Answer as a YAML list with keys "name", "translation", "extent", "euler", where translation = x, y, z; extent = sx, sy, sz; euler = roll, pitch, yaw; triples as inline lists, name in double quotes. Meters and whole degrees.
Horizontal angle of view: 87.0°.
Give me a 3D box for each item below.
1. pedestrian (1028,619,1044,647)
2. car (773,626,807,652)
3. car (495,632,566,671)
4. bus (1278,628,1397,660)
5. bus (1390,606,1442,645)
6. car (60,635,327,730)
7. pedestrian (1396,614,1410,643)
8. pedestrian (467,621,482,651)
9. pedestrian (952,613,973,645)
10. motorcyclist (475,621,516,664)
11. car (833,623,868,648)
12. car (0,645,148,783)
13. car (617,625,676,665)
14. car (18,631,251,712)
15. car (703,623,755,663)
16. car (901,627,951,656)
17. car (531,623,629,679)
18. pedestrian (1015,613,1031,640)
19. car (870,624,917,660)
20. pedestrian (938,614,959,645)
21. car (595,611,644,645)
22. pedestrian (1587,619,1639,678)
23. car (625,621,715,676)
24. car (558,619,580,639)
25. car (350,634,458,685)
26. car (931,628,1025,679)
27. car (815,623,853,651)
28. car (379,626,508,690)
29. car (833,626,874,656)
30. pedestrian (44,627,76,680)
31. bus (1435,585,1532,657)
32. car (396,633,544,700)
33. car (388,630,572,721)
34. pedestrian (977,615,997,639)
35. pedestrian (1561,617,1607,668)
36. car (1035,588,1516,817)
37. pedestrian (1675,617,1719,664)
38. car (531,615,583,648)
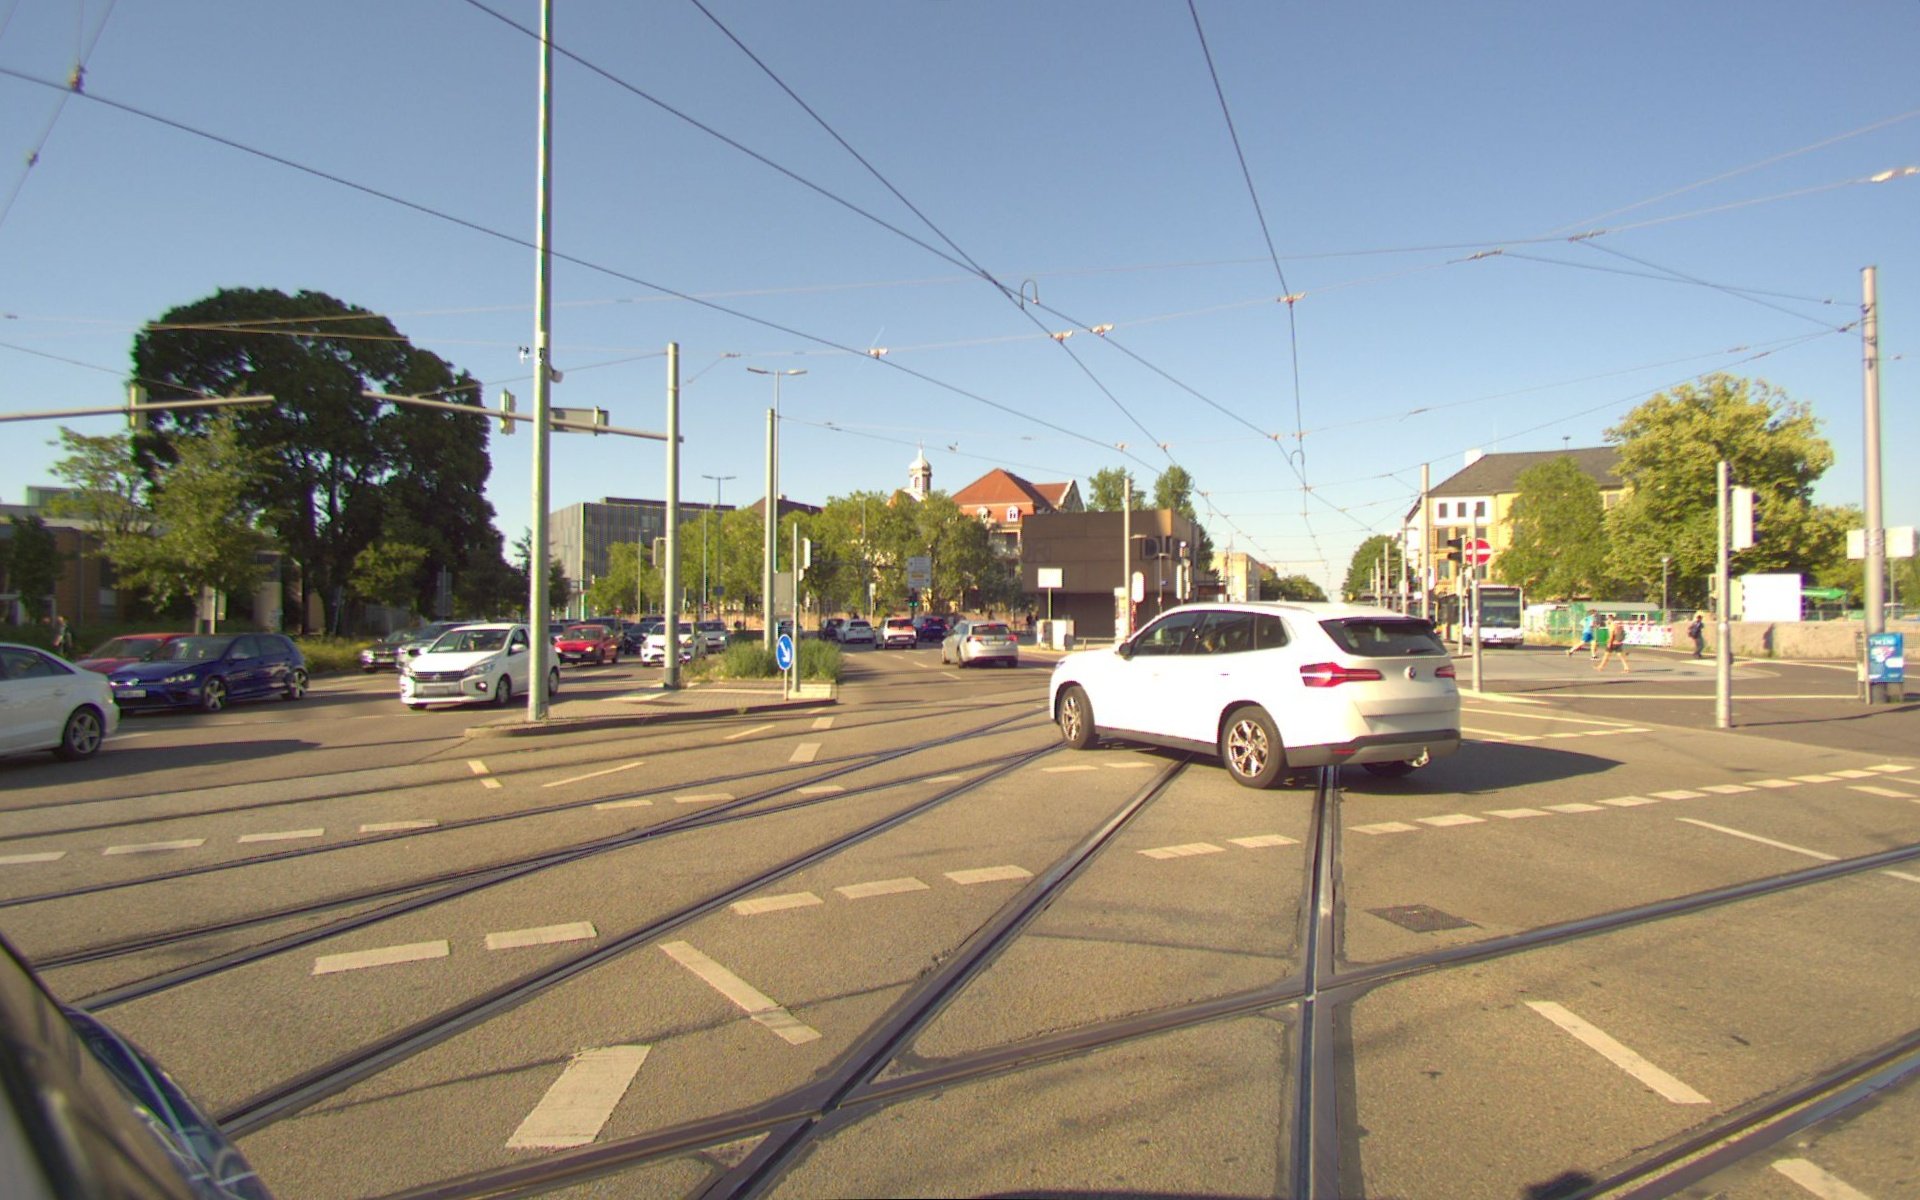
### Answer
- name: "pedestrian"
  translation: [5.150, 2.239, 68.816]
  extent: [0.797, 1.782, 0.968]
  euler: [-3, -2, 17]
- name: "car"
  translation: [-11.779, 2.657, 69.900]
  extent: [1.828, 1.642, 3.881]
  euler: [-3, -1, -15]
- name: "car"
  translation: [-20.870, 2.462, 49.409]
  extent: [1.968, 1.696, 4.715]
  euler: [-3, -1, -8]
- name: "bus"
  translation: [44.001, 5.196, 118.489]
  extent: [12.655, 3.218, 3.207]
  euler: [-4, -2, 42]
- name: "bus"
  translation: [41.233, 2.214, 91.877]
  extent: [3.228, 3.218, 12.573]
  euler: [-3, -2, 20]
- name: "car"
  translation: [-14.433, 1.479, 19.462]
  extent: [1.791, 1.504, 4.657]
  euler: [-2, -1, -3]
- name: "pedestrian"
  translation: [26.765, 1.744, 61.180]
  extent: [0.493, 1.714, 0.500]
  euler: [-3, -2, -3]
- name: "pedestrian"
  translation: [-27.816, 2.068, 58.010]
  extent: [0.556, 1.674, 0.593]
  euler: [-3, -2, -8]
- name: "pedestrian"
  translation: [0.142, 1.710, 59.528]
  extent: [0.790, 1.782, 0.976]
  euler: [-2, -2, -26]
- name: "motorcyclist"
  translation: [-19.360, 1.758, 42.181]
  extent: [1.101, 1.680, 1.456]
  euler: [-3, -2, -6]
- name: "car"
  translation: [-8.070, 2.605, 74.449]
  extent: [1.827, 1.642, 3.881]
  euler: [-3, -1, -16]
- name: "car"
  translation: [-10.726, 1.185, 10.226]
  extent: [1.798, 1.399, 4.463]
  euler: [-1, -2, -6]
- name: "car"
  translation: [-14.515, 2.059, 47.103]
  extent: [1.968, 1.696, 4.007]
  euler: [-3, -1, -8]
- name: "car"
  translation: [-17.471, 1.450, 21.705]
  extent: [1.732, 1.475, 4.018]
  euler: [0, 0, 0]
- name: "car"
  translation: [-10.288, 1.894, 45.251]
  extent: [1.968, 1.689, 4.291]
  euler: [0, -1, -9]
- name: "car"
  translation: [-2.157, 2.583, 62.978]
  extent: [1.833, 1.642, 4.050]
  euler: [-3, -1, -20]
- name: "car"
  translation: [-12.867, 1.686, 34.504]
  extent: [1.971, 1.696, 4.002]
  euler: [-3, -1, -3]
- name: "pedestrian"
  translation: [4.231, 1.773, 68.301]
  extent: [0.797, 1.782, 0.968]
  euler: [-3, -2, 17]
- name: "car"
  translation: [-3.300, 2.028, 49.635]
  extent: [1.693, 1.643, 3.879]
  euler: [-1, -1, -12]
- name: "pedestrian"
  translation: [-0.679, 1.744, 59.170]
  extent: [0.790, 1.782, 0.966]
  euler: [-2, -2, -26]
- name: "car"
  translation: [-17.903, 1.482, 53.344]
  extent: [1.794, 1.741, 4.007]
  euler: [0, -2, -9]
- name: "pedestrian"
  translation: [19.574, 1.451, 30.354]
  extent: [0.717, 1.699, 1.058]
  euler: [-2, -2, -39]
- name: "car"
  translation: [-9.449, 1.553, 33.306]
  extent: [1.970, 1.689, 4.286]
  euler: [0, -1, -4]
- name: "car"
  translation: [-58.311, 4.319, 150.909]
  extent: [2.116, 2.889, 4.985]
  euler: [1, -2, -31]
- name: "car"
  translation: [-18.463, 1.932, 33.817]
  extent: [1.729, 1.475, 4.024]
  euler: [0, 0, -5]
- name: "car"
  translation: [0.477, 1.623, 31.971]
  extent: [1.816, 1.434, 4.444]
  euler: [-1, -1, -15]
- name: "car"
  translation: [-8.401, 2.454, 67.245]
  extent: [1.827, 1.642, 3.881]
  euler: [-3, -1, -16]
- name: "car"
  translation: [-14.937, 1.616, 29.512]
  extent: [1.970, 1.619, 4.004]
  euler: [-3, -1, -5]
- name: "car"
  translation: [-6.482, 2.450, 61.343]
  extent: [1.828, 1.642, 3.881]
  euler: [-3, -1, -15]
- name: "pedestrian"
  translation: [-28.867, 1.711, 32.464]
  extent: [0.564, 1.647, 0.506]
  euler: [-2, -2, -15]
- name: "bus"
  translation: [27.098, 1.039, 52.940]
  extent: [2.821, 3.218, 12.573]
  euler: [-3, -2, 20]
- name: "car"
  translation: [-11.726, 1.551, 24.525]
  extent: [1.759, 1.475, 3.916]
  euler: [0, -2, -1]
- name: "car"
  translation: [-8.919, 1.341, 19.177]
  extent: [1.697, 1.504, 3.871]
  euler: [0, -1, -1]
- name: "pedestrian"
  translation: [1.807, 1.836, 68.053]
  extent: [0.790, 1.579, 1.183]
  euler: [-2, -2, -26]
- name: "pedestrian"
  translation: [22.648, 1.540, 36.737]
  extent: [1.159, 1.782, 0.807]
  euler: [-2, -2, -23]
- name: "car"
  translation: [2.826, 0.871, 10.287]
  extent: [1.908, 1.760, 4.637]
  euler: [1, -2, -28]
- name: "pedestrian"
  translation: [28.115, 1.534, 38.613]
  extent: [1.044, 1.699, 0.727]
  euler: [-3, -2, 7]
- name: "car"
  translation: [-21.836, 1.704, 54.943]
  extent: [1.794, 1.741, 4.007]
  euler: [0, -2, -9]
